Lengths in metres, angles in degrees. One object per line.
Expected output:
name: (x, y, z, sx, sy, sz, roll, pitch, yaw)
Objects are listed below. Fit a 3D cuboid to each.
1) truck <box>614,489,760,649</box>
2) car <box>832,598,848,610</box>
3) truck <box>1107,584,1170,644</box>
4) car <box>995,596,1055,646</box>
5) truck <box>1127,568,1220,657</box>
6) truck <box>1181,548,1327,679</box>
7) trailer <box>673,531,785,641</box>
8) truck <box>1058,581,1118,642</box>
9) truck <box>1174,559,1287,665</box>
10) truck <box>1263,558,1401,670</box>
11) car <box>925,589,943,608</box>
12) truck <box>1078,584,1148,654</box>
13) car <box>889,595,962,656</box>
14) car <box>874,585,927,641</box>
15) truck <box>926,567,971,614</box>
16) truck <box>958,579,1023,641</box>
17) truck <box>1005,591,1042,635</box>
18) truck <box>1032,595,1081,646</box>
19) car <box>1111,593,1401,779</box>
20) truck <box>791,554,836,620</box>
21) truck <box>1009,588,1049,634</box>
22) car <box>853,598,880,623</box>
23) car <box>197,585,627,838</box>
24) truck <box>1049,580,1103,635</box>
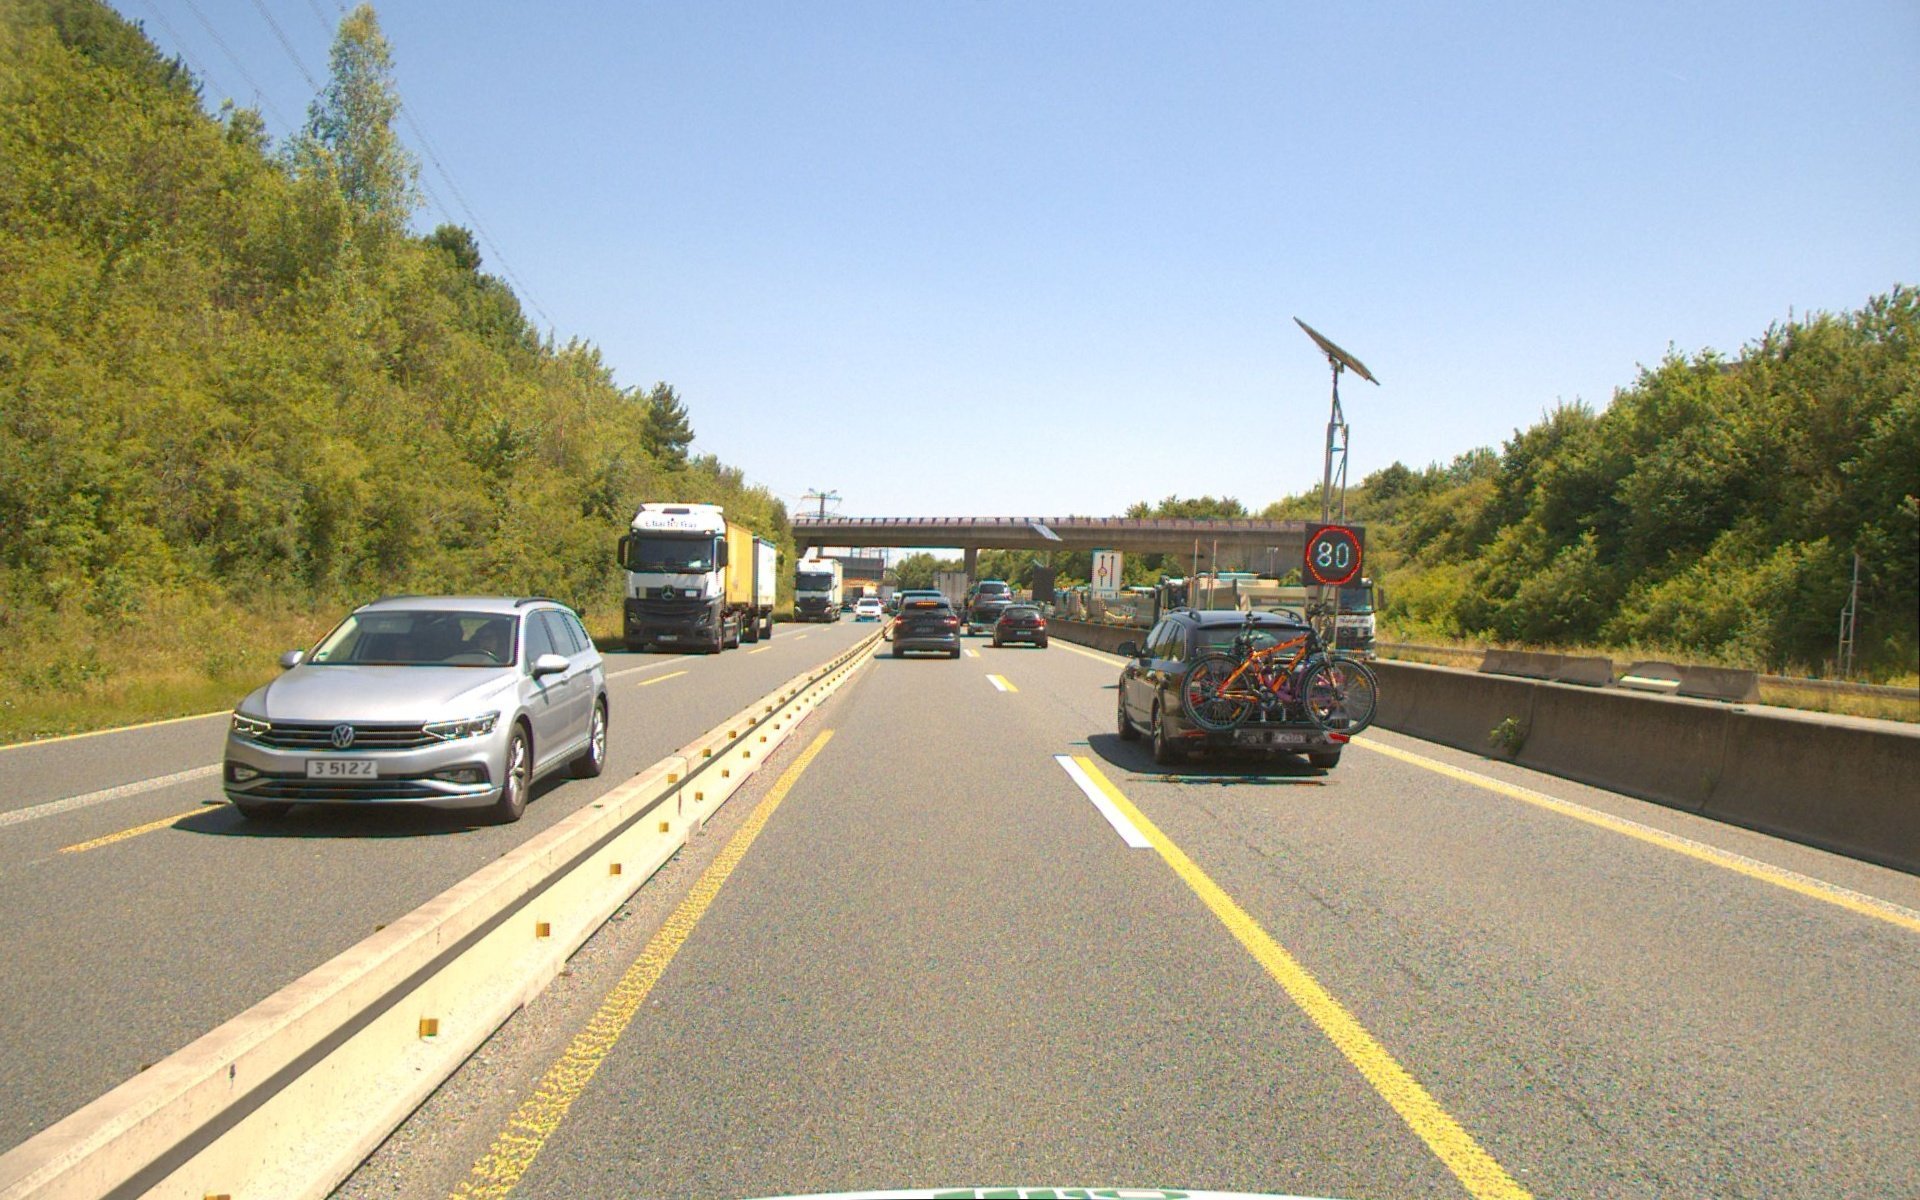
truck: (-7.709, -0.804, 48.063, 2.596, 4.061, 9.648, 3, 0, -1)
car: (-15.577, 0.499, 214.465, 1.757, 1.552, 4.530, 1, 0, -1)
truck: (10.831, 0.800, 101.298, 2.632, 3.437, 9.600, 1, 0, -1)
car: (2.184, 0.697, 56.658, 1.860, 1.613, 4.276, 1, 0, 0)
truck: (9.252, 0.513, 72.654, 2.487, 3.619, 9.599, 1, 0, -2)
truck: (8.751, 0.368, 50.321, 2.482, 3.572, 9.093, 1, 0, -2)
trailer: (-7.860, -0.451, 57.337, 2.596, 3.394, 8.917, 3, 0, -1)
truck: (7.898, 0.688, 102.964, 2.633, 3.619, 9.402, 1, 0, -2)
truck: (9.764, 0.407, 60.586, 2.482, 3.572, 8.942, 1, 0, -1)
truck: (12.884, 0.454, 58.032, 2.633, 3.572, 8.377, 1, 0, -2)
car: (-2.829, -0.190, 179.628, 1.861, 2.003, 4.275, 1, 0, -1)
truck: (8.329, 0.986, 90.984, 2.633, 3.619, 9.599, 1, 0, -2)
car: (-0.918, 0.672, 44.871, 1.861, 1.531, 4.275, 1, 0, -1)
car: (-2.230, 0.481, 62.975, 1.861, 2.003, 4.275, 1, 0, -1)
truck: (-1.076, -0.788, 144.334, 3.227, 3.912, 10.102, 1, 0, -4)
truck: (1.290, 0.393, 74.299, 2.357, 2.603, 7.496, 1, 0, -3)
truck: (5.837, 1.142, 154.073, 2.633, 3.923, 9.320, 1, 0, -2)
truck: (7.174, 1.473, 123.799, 2.633, 3.619, 9.320, 1, 0, -3)
car: (2.700, 0.737, 16.269, 1.861, 1.516, 4.946, 1, 0, -1)
truck: (-9.603, -0.808, 109.370, 2.361, 4.062, 10.347, 2, 0, -2)
truck: (5.856, 0.916, 142.205, 2.633, 3.826, 9.320, 1, 0, -2)
car: (-6.547, 0.732, 116.213, 1.788, 1.659, 4.149, 1, 0, -2)
car: (-3.760, 0.687, 12.255, 1.804, 1.516, 4.509, 0, 0, -2)
truck: (7.951, 0.526, 114.841, 2.633, 3.619, 9.320, 1, 0, -3)
